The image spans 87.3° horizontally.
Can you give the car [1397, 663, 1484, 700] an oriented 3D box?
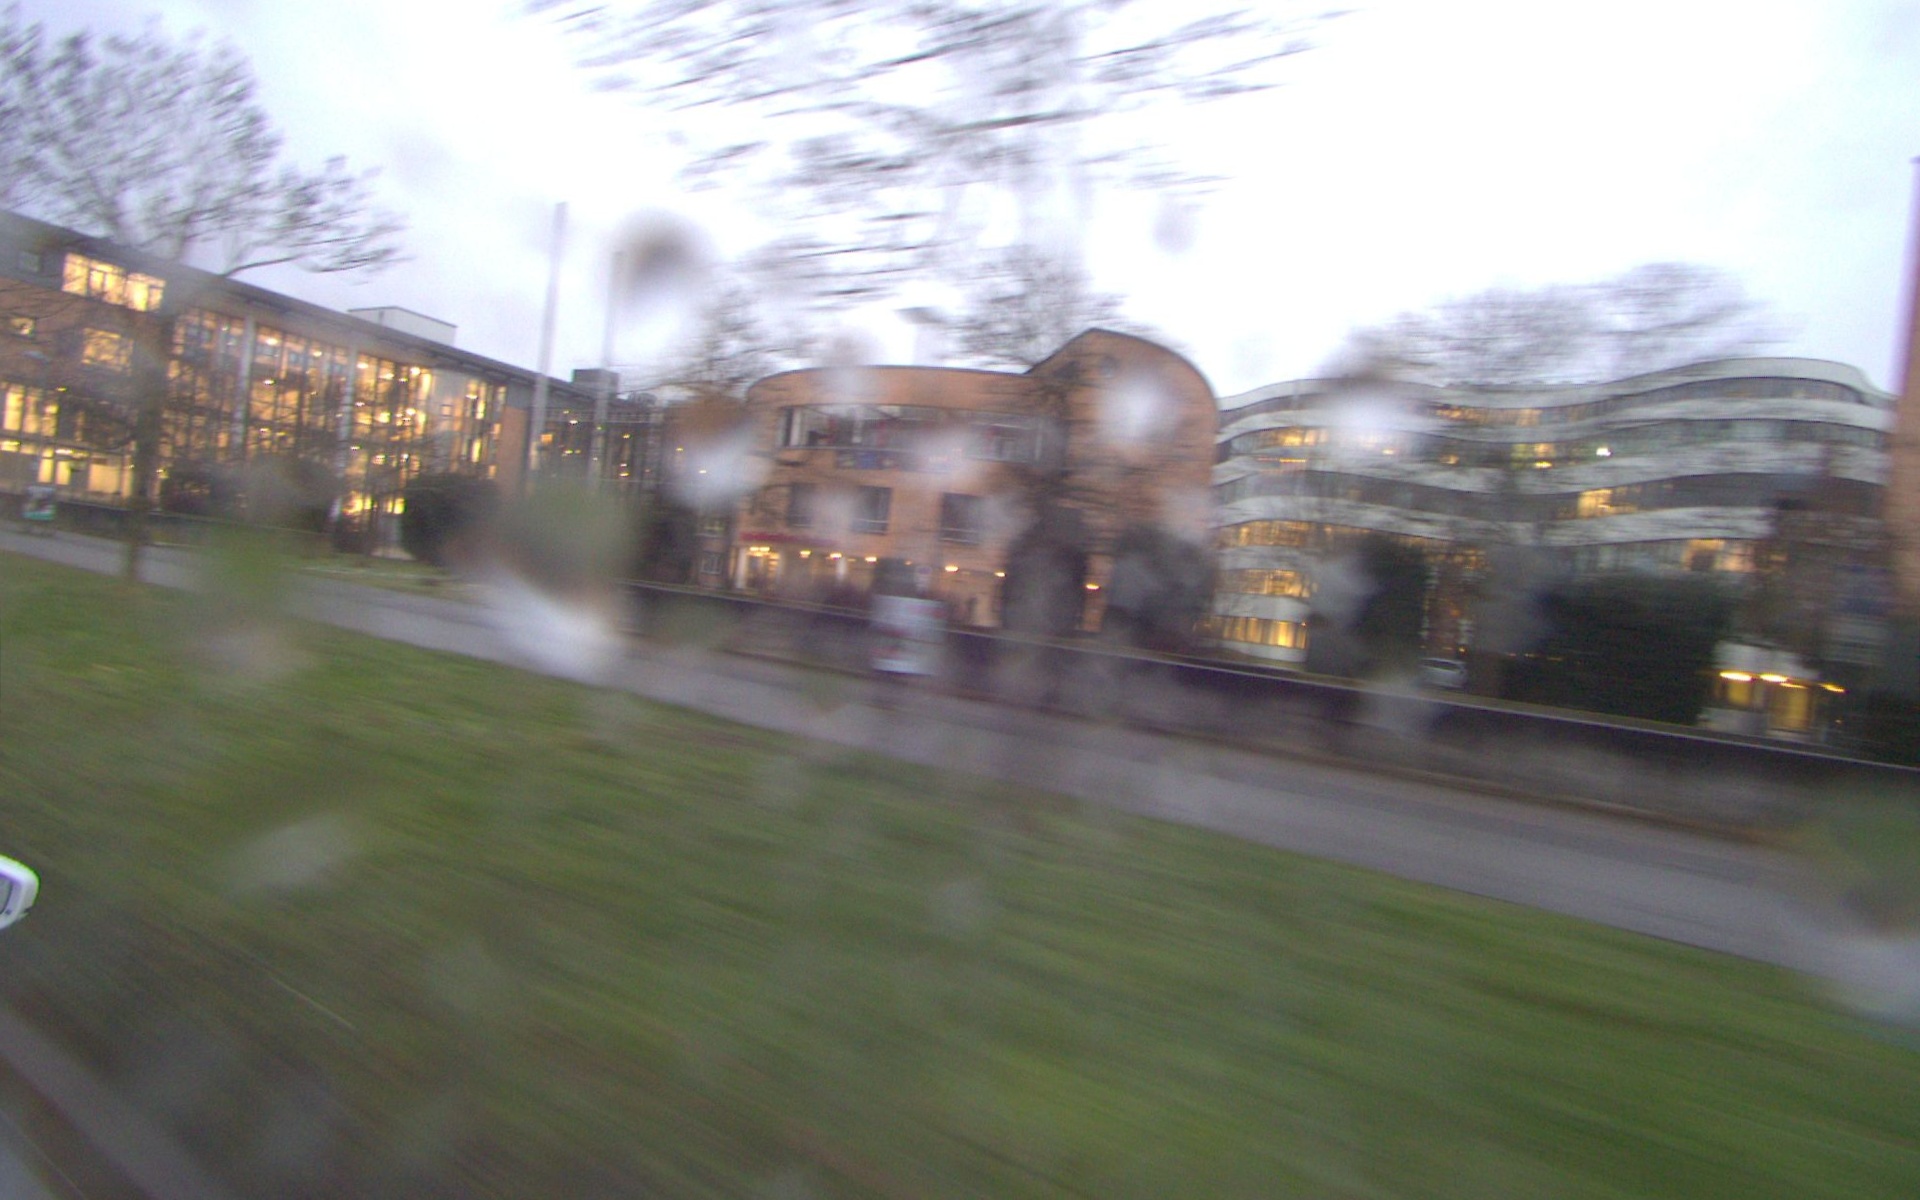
[{"bbox_3d":[22.711,3.819,47.685,1.646,1.195,3.697,7,0,-13],"label":"car"}]
